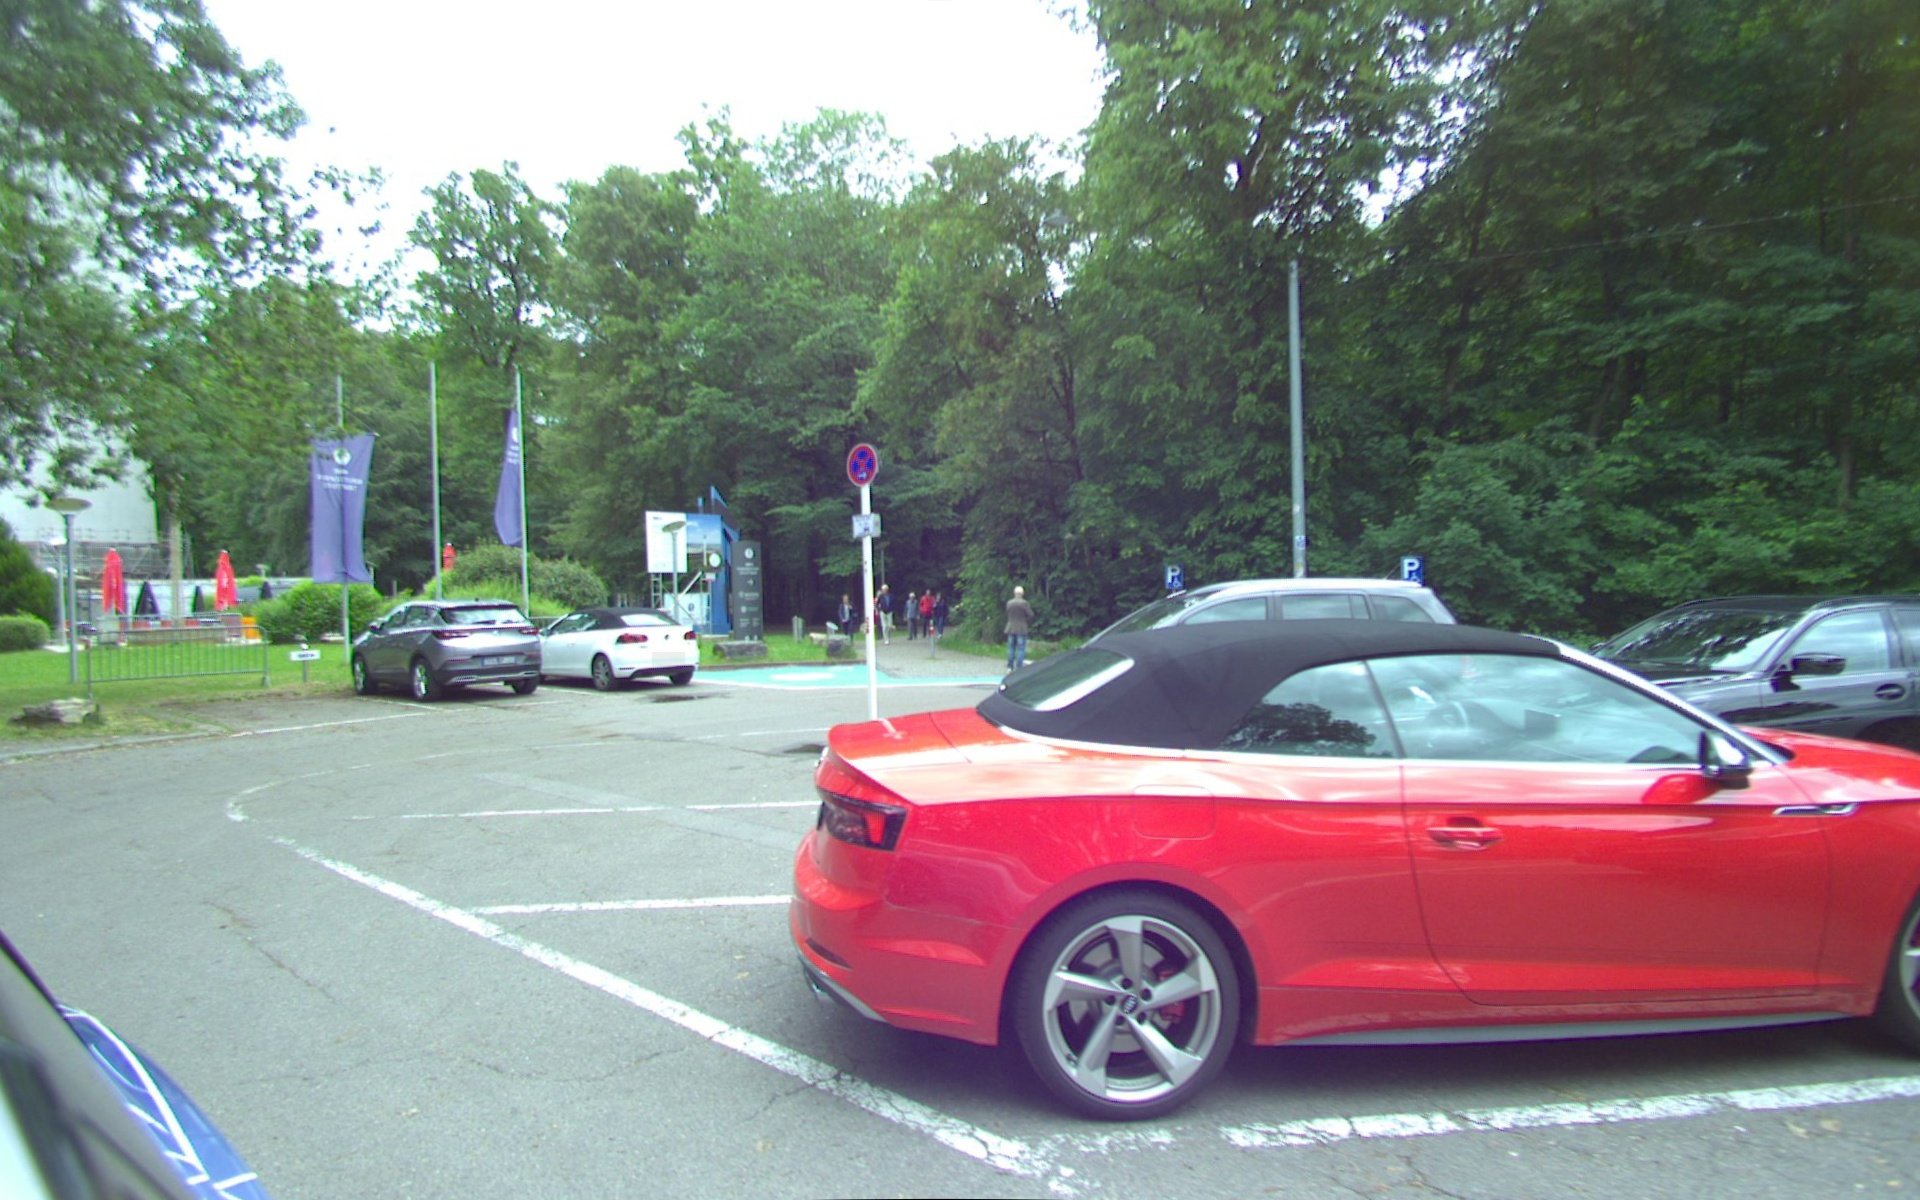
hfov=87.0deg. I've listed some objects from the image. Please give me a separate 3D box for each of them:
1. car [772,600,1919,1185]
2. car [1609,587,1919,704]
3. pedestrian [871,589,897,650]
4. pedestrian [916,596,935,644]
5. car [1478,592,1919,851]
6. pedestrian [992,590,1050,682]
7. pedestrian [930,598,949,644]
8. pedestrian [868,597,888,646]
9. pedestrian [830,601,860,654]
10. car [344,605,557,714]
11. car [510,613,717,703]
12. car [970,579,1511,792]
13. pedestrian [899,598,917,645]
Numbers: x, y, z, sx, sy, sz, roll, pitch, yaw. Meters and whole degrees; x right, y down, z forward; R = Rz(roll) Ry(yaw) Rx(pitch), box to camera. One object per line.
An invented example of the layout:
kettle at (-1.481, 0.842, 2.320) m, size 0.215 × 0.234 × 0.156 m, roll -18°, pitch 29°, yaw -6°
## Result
car at (1.605, 0.759, 3.672) m, size 4.325 × 1.404 × 1.771 m, roll -2°, pitch 0°, yaw -5°
car at (12.082, 0.600, 15.062) m, size 1.870 × 1.473 × 4.209 m, roll -1°, pitch -1°, yaw -4°
pedestrian at (-2.453, 0.615, 32.693) m, size 0.725 × 1.930 × 0.667 m, roll -1°, pitch 0°, yaw 6°
pedestrian at (-1.308, 0.746, 38.567) m, size 0.672 × 1.781 × 0.713 m, roll -1°, pitch 0°, yaw 0°
car at (6.119, 0.691, 6.981) m, size 4.212 × 1.454 × 1.762 m, roll -1°, pitch -1°, yaw -7°
pedestrian at (1.198, 0.694, 19.816) m, size 0.762 × 1.738 × 0.886 m, roll -2°, pitch -1°, yaw 35°
pedestrian at (-0.767, 0.784, 37.817) m, size 0.672 × 1.686 × 0.662 m, roll -1°, pitch 0°, yaw 0°
pedestrian at (-3.009, 0.797, 37.225) m, size 0.674 × 1.775 × 0.605 m, roll -1°, pitch 0°, yaw 0°
pedestrian at (-3.624, 0.857, 31.900) m, size 0.769 × 1.646 × 0.636 m, roll -1°, pitch 0°, yaw 6°
car at (-8.668, 0.923, 17.095) m, size 3.999 × 1.597 × 1.873 m, roll -2°, pitch -1°, yaw 42°
car at (-6.461, 1.004, 18.682) m, size 3.998 × 1.439 × 1.873 m, roll -2°, pitch -1°, yaw 41°
car at (2.370, 0.687, 9.226) m, size 4.320 × 1.621 × 1.832 m, roll -1°, pitch -1°, yaw -6°
pedestrian at (-1.893, 0.785, 37.011) m, size 0.600 × 1.686 × 0.605 m, roll -1°, pitch 0°, yaw 0°
